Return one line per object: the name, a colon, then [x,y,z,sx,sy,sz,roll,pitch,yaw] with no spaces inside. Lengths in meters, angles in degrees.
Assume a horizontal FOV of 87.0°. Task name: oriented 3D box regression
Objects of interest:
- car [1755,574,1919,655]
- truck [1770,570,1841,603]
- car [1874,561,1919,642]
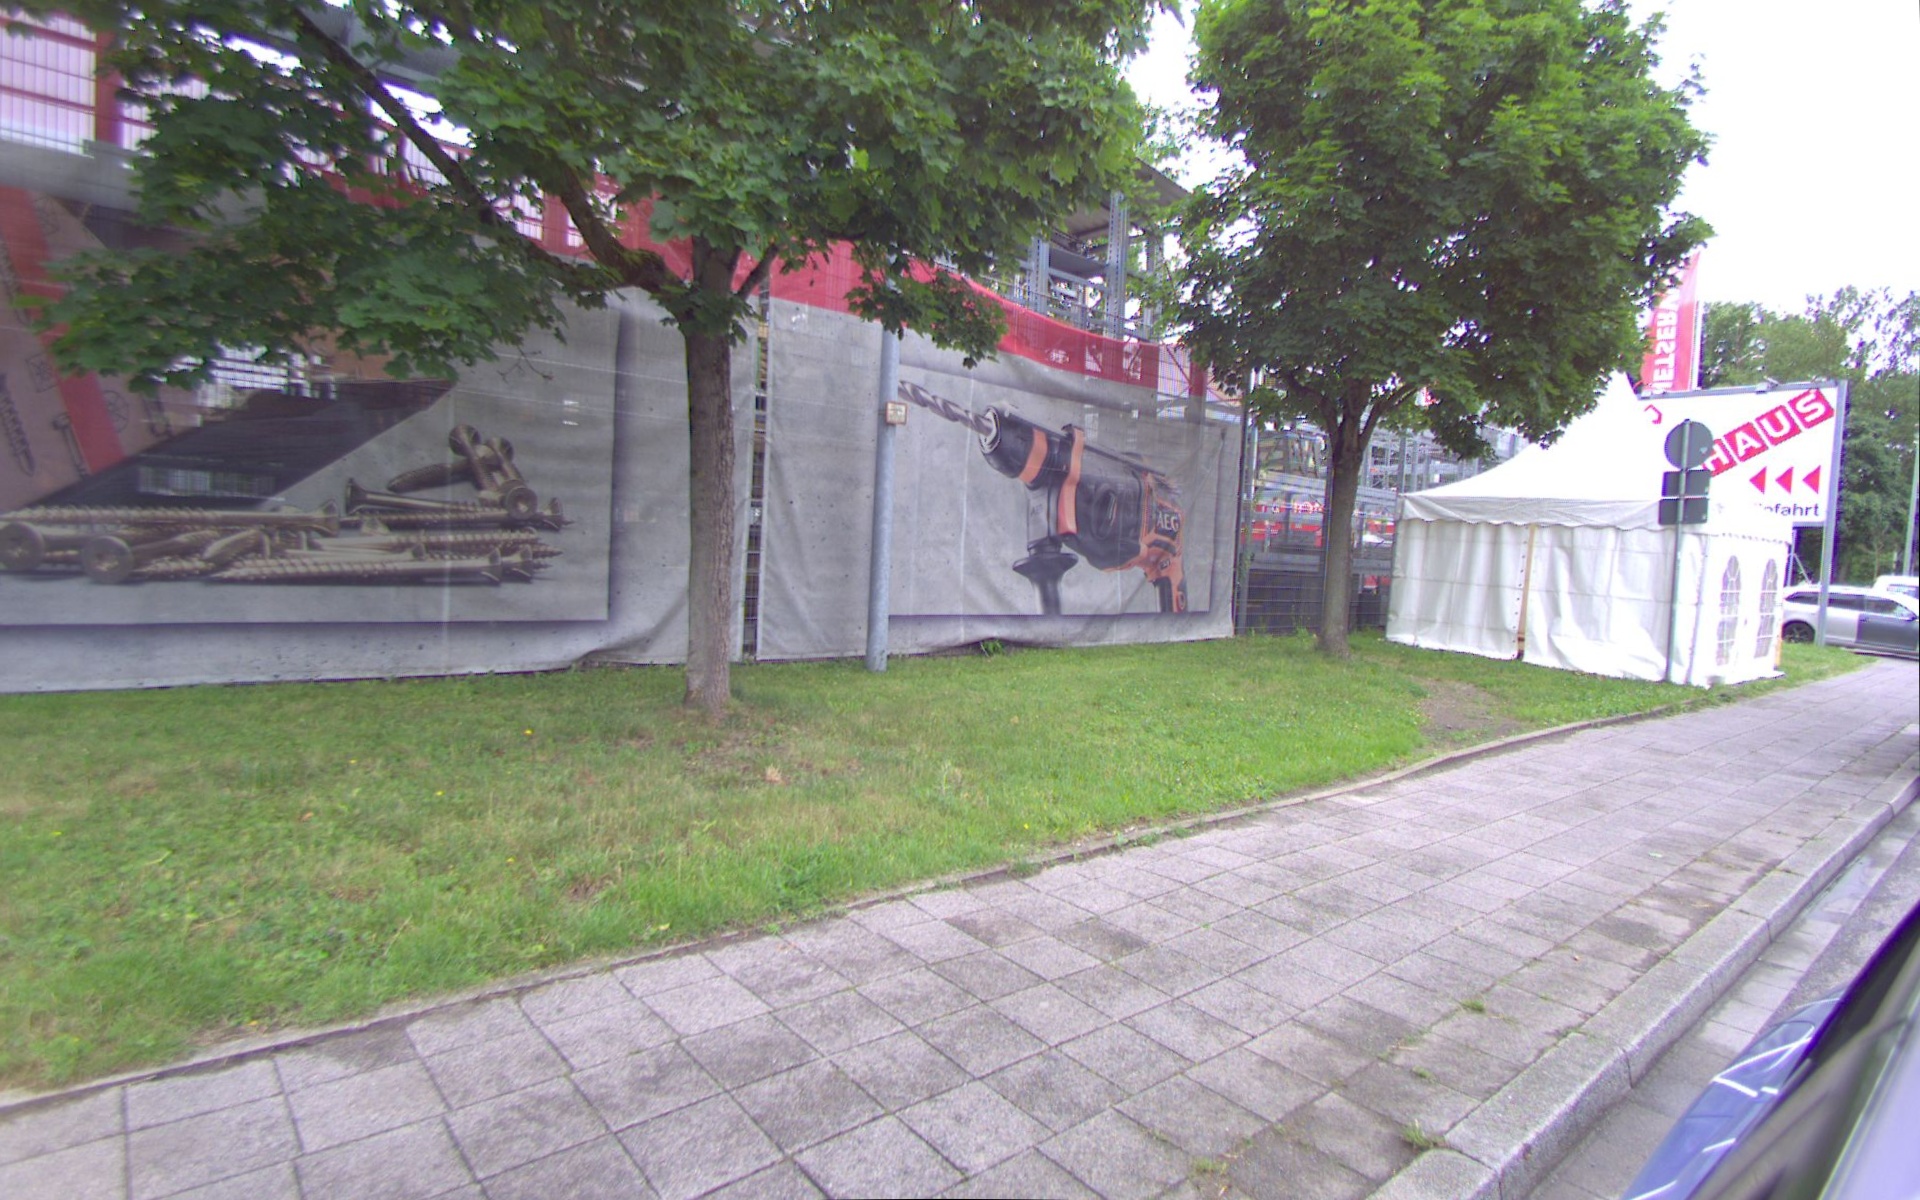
car: [20.341,0.298,22.540,1.740,1.603,3.697,1,2,-27]
truck: [68.818,-1.094,82.436,3.924,2.425,2.002,3,3,-1]
car: [24.037,0.229,23.114,1.770,1.828,4.381,0,7,-41]
